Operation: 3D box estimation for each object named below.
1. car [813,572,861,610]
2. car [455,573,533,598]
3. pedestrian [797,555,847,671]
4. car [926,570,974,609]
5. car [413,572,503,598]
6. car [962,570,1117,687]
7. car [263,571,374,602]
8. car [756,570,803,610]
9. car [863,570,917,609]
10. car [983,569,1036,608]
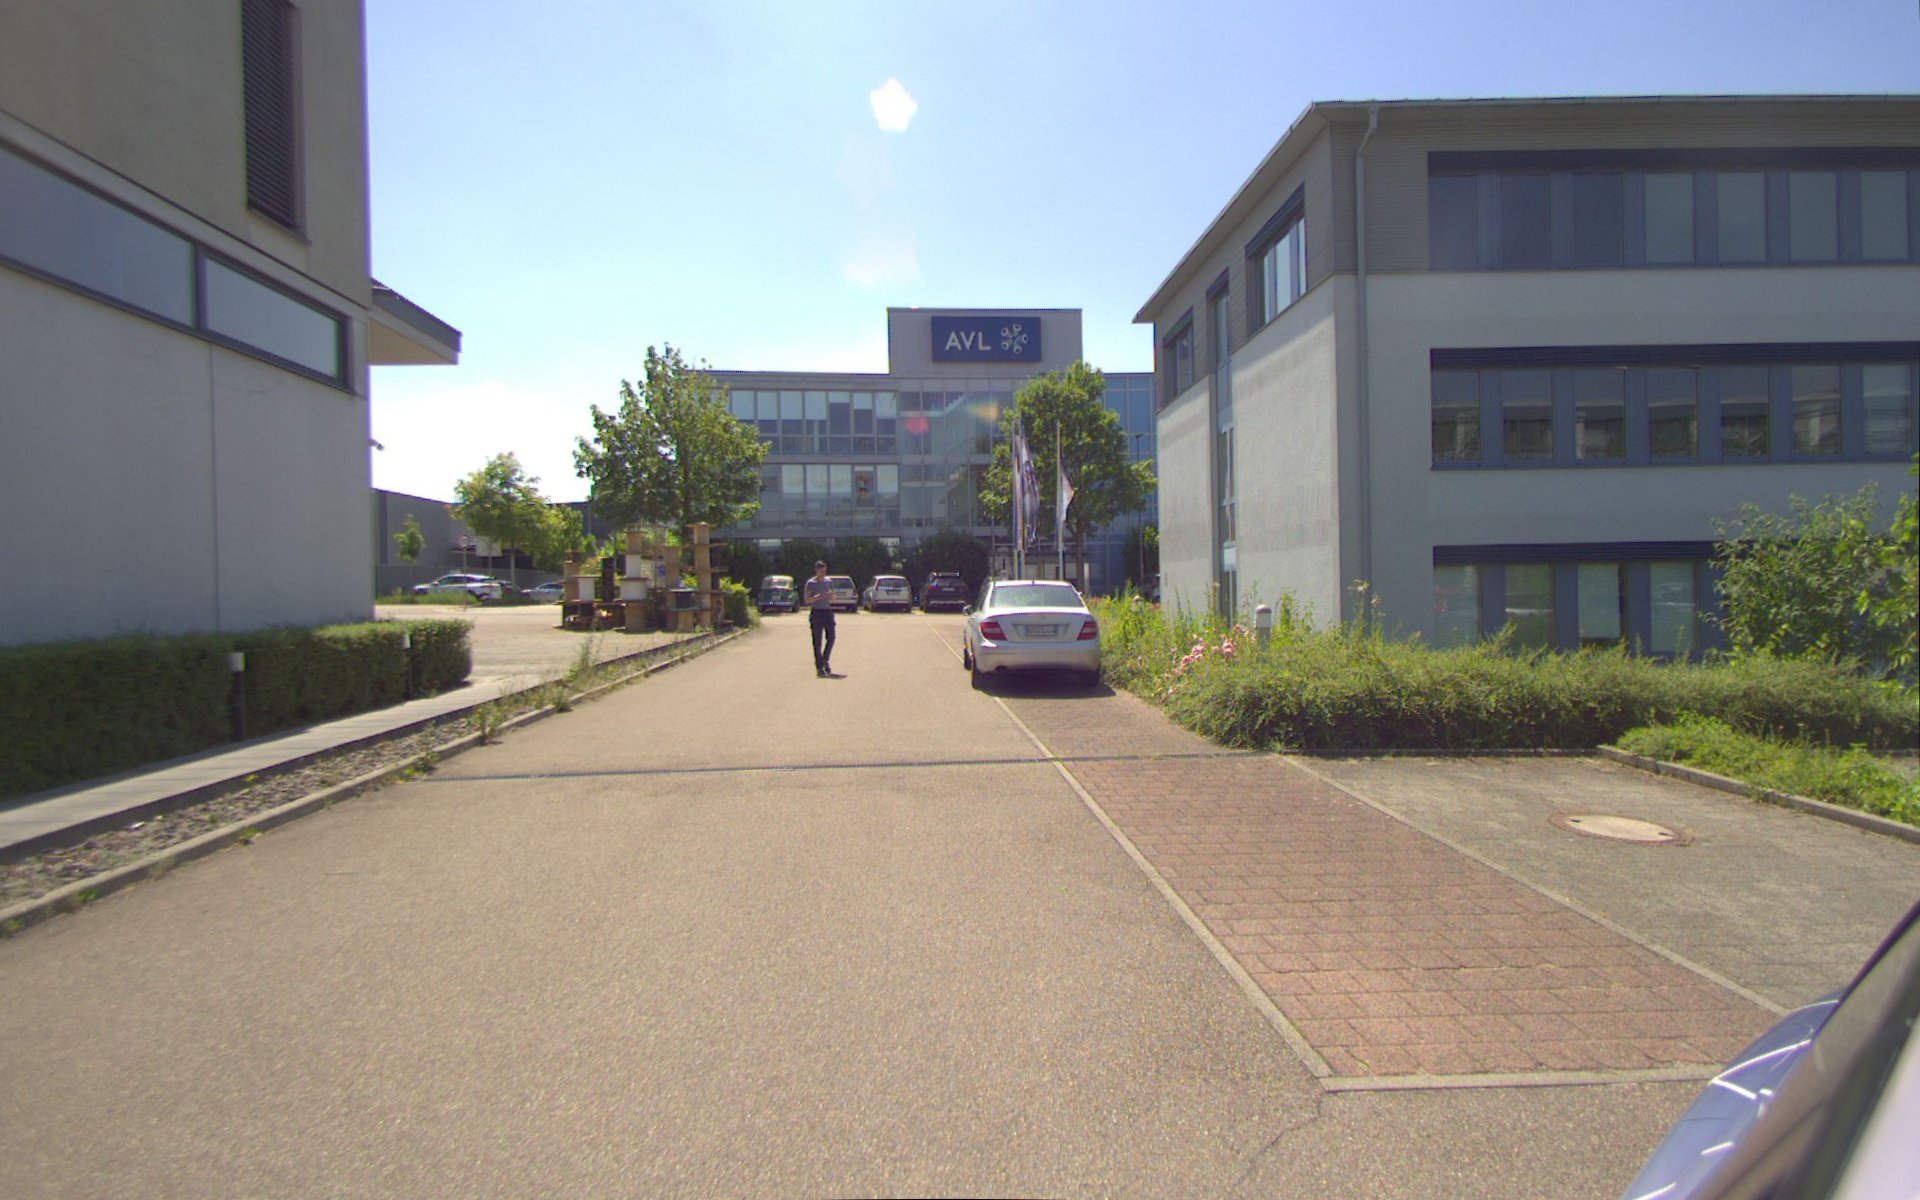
[{"bbox_3d":[-5.118,-0.365,41.671,1.639,1.459,4.007,0,0,-12],"label":"car"},{"bbox_3d":[-27.959,-0.853,60.794,3.999,1.433,1.745,0,-1,9],"label":"car"},{"bbox_3d":[-2.196,0.197,16.043,0.606,1.779,0.789,0,0,-22],"label":"pedestrian"},{"bbox_3d":[-0.462,-0.425,42.208,1.715,1.538,4.004,0,0,-5],"label":"car"},{"bbox_3d":[-28.523,-0.845,57.557,4.374,1.433,1.745,0,-1,9],"label":"car"},{"bbox_3d":[1.008,0.342,14.591,1.695,1.454,3.719,0,0,-4],"label":"car"},{"bbox_3d":[-30.164,-0.608,47.633,4.376,1.433,1.744,0,-1,10],"label":"car"},{"bbox_3d":[-7.312,-0.402,41.268,1.714,1.538,4.005,0,0,-7],"label":"car"},{"bbox_3d":[-2.975,-0.450,42.426,1.713,1.538,4.007,0,0,-12],"label":"car"},{"bbox_3d":[2.020,-0.491,42.343,1.715,1.538,4.004,0,0,-5],"label":"car"}]
